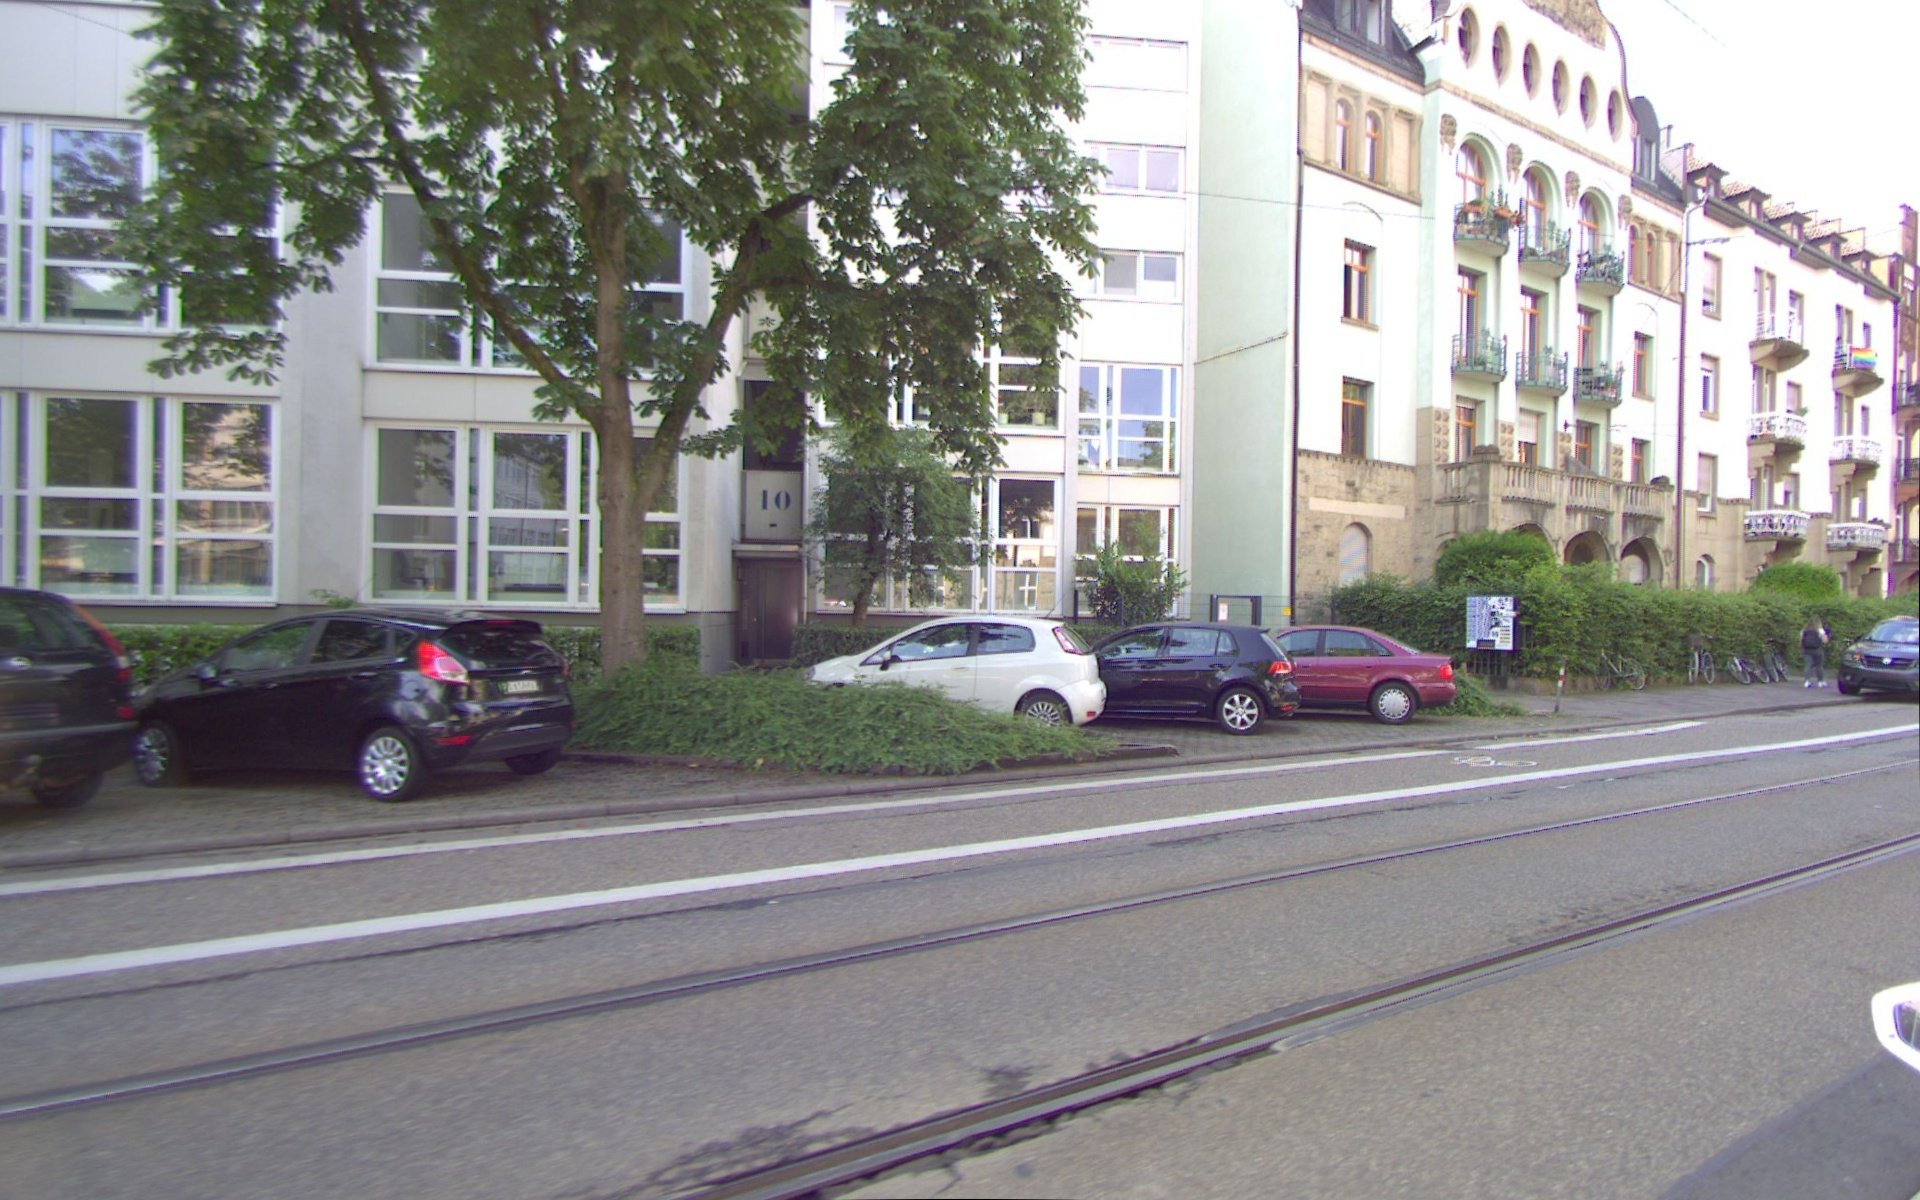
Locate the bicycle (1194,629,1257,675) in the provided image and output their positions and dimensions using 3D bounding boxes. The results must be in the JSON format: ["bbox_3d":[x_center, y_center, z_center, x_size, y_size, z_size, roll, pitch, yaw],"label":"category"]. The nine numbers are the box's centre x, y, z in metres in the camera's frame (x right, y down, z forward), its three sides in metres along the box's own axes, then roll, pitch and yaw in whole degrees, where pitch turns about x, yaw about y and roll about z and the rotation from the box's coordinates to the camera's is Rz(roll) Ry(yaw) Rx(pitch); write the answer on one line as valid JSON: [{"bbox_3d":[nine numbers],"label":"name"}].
[{"bbox_3d":[6.474,1.251,24.467,1.791,1.079,0.380,1,2,-34],"label":"bicycle"}]

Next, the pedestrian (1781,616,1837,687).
[{"bbox_3d":[19.723,1.184,23.341,0.871,1.589,0.677,1,2,-29],"label":"pedestrian"}]

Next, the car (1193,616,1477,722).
[{"bbox_3d":[5.670,1.037,15.627,3.890,1.503,1.847,-1,-2,16],"label":"car"}]

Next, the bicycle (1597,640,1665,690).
[{"bbox_3d":[13.861,1.326,20.737,1.788,0.972,0.381,1,1,-30],"label":"bicycle"}]

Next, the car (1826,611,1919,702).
[{"bbox_3d":[20.752,1.172,21.818,4.833,1.786,1.774,1,-1,-34],"label":"car"}]

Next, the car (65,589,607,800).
[{"bbox_3d":[-5.237,0.735,8.567,3.920,1.503,1.742,-1,-2,16],"label":"car"}]

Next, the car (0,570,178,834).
[{"bbox_3d":[-7.736,0.655,6.835,3.919,1.613,1.742,-1,-2,14],"label":"car"}]

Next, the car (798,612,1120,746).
[{"bbox_3d":[0.054,0.946,12.549,3.730,1.503,1.699,-1,-2,13],"label":"car"}]

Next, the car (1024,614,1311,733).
[{"bbox_3d":[2.930,0.986,14.081,3.732,1.503,1.698,-1,-2,19],"label":"car"}]

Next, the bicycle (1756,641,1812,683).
[{"bbox_3d":[20.064,1.505,24.452,1.898,0.972,0.381,1,1,-30],"label":"bicycle"}]

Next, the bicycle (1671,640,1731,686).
[{"bbox_3d":[16.470,1.379,22.316,1.788,0.972,0.381,1,1,-30],"label":"bicycle"}]

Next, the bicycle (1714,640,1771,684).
[{"bbox_3d":[18.232,1.431,23.398,1.788,0.972,0.381,1,1,-30],"label":"bicycle"}]
